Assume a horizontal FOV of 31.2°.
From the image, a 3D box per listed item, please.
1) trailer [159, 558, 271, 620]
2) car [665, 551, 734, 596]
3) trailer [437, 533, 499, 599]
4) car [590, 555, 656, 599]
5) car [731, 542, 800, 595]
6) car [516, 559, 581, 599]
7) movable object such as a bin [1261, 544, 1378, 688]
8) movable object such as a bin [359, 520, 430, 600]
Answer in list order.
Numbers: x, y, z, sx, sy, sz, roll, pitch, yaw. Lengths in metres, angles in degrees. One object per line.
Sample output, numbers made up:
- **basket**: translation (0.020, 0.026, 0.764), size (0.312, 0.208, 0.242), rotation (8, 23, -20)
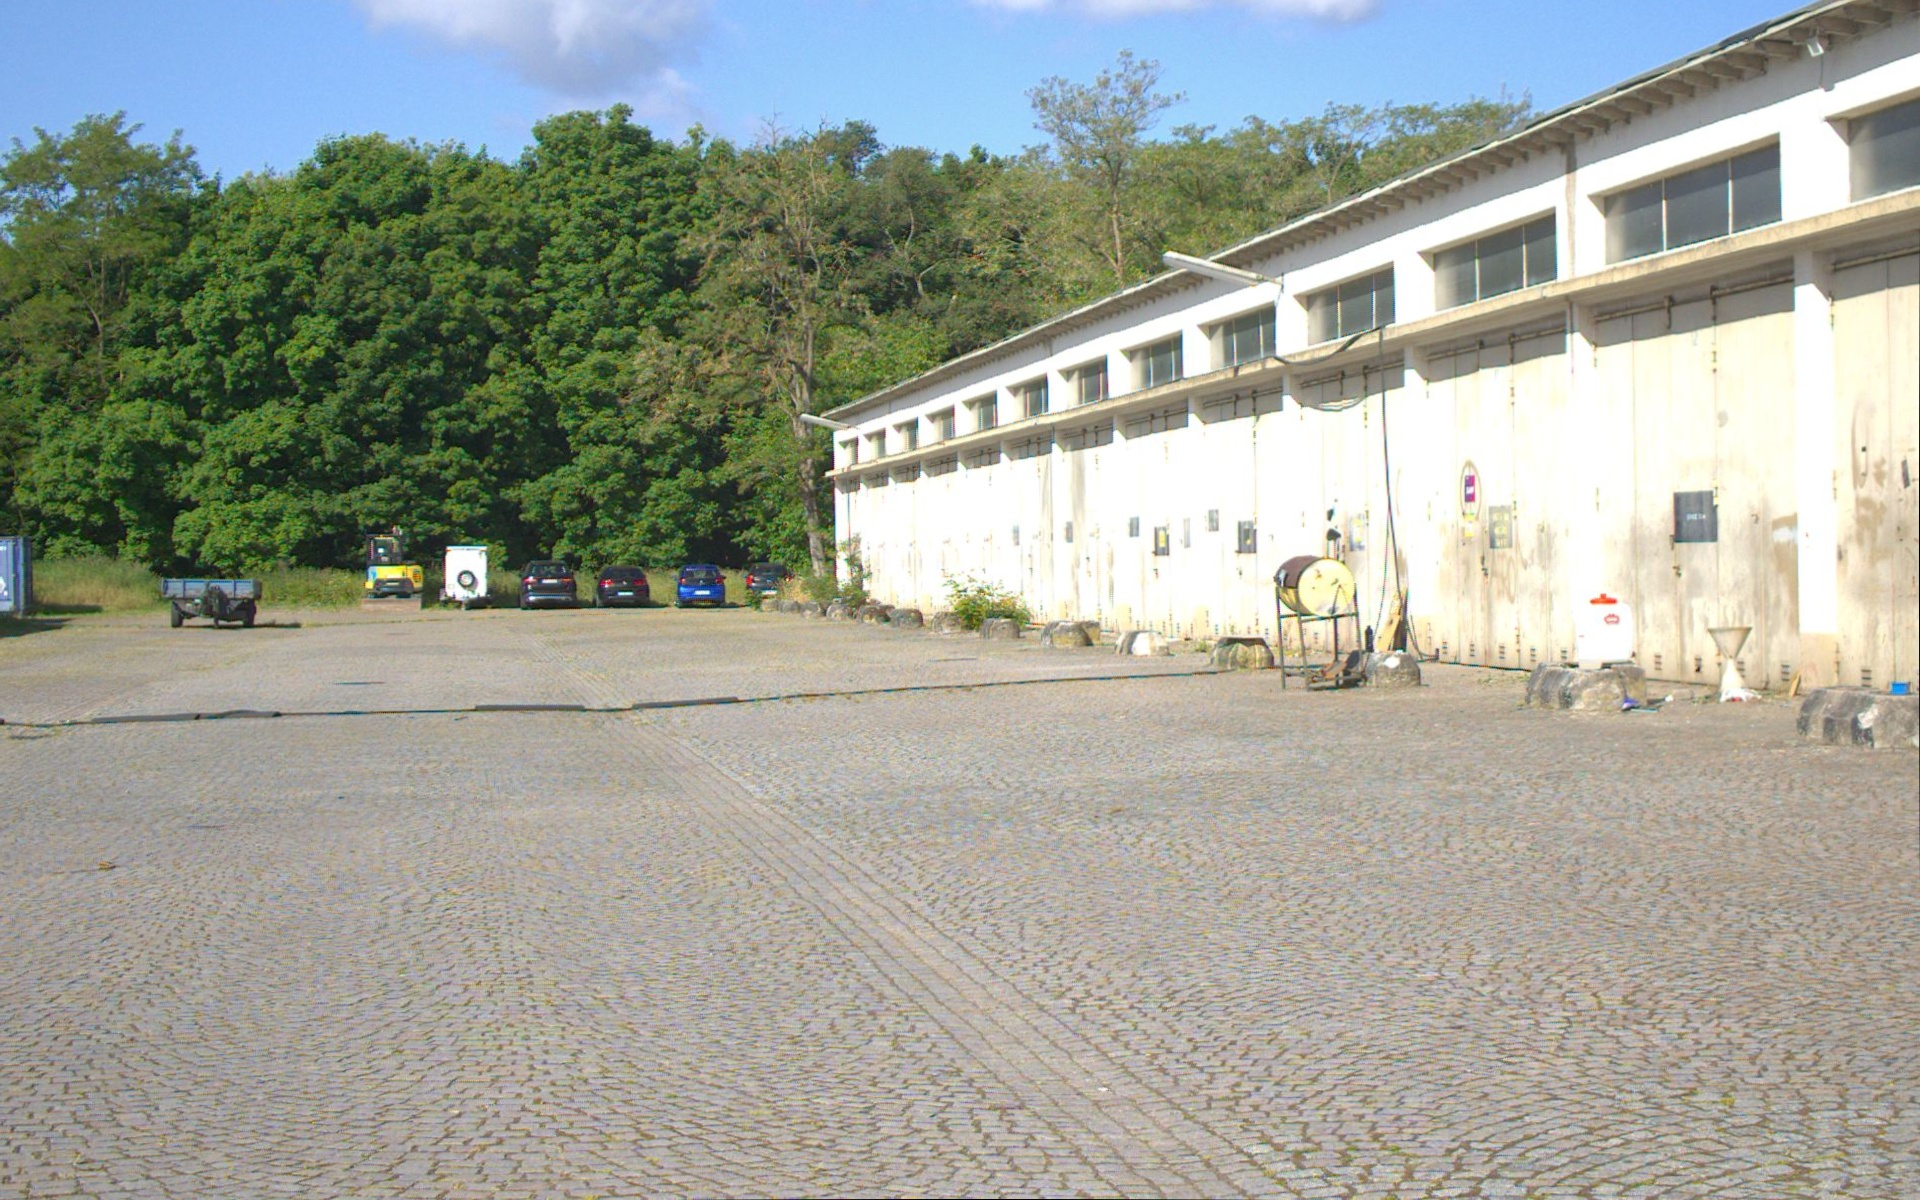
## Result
- **trailer**: translation (-21.048, -0.331, 97.368), size (2.790, 1.640, 5.622), rotation (-1, 1, -9)
- **car**: translation (-8.875, -0.898, 116.971), size (1.993, 1.461, 4.001), rotation (-1, 1, -9)
- **trailer**: translation (-16.722, -1.145, 116.727), size (1.993, 2.155, 4.433), rotation (-1, 1, -9)
- **car**: translation (-11.441, -0.802, 116.616), size (1.993, 1.419, 4.001), rotation (-1, 1, -9)
- **car**: translation (-6.724, -1.085, 118.534), size (1.993, 1.766, 4.001), rotation (-1, 1, -9)
- **car**: translation (-13.887, -0.716, 115.890), size (1.993, 1.254, 4.001), rotation (-1, 1, -9)
- **movable object such as a bin**: translation (3.581, 0.151, 34.340), size (0.874, 1.396, 1.102), rotation (-1, 1, -9)
- **movable object such as a bin**: translation (-19.278, -1.367, 117.125), size (2.231, 2.648, 4.001), rotation (-1, 1, -11)
